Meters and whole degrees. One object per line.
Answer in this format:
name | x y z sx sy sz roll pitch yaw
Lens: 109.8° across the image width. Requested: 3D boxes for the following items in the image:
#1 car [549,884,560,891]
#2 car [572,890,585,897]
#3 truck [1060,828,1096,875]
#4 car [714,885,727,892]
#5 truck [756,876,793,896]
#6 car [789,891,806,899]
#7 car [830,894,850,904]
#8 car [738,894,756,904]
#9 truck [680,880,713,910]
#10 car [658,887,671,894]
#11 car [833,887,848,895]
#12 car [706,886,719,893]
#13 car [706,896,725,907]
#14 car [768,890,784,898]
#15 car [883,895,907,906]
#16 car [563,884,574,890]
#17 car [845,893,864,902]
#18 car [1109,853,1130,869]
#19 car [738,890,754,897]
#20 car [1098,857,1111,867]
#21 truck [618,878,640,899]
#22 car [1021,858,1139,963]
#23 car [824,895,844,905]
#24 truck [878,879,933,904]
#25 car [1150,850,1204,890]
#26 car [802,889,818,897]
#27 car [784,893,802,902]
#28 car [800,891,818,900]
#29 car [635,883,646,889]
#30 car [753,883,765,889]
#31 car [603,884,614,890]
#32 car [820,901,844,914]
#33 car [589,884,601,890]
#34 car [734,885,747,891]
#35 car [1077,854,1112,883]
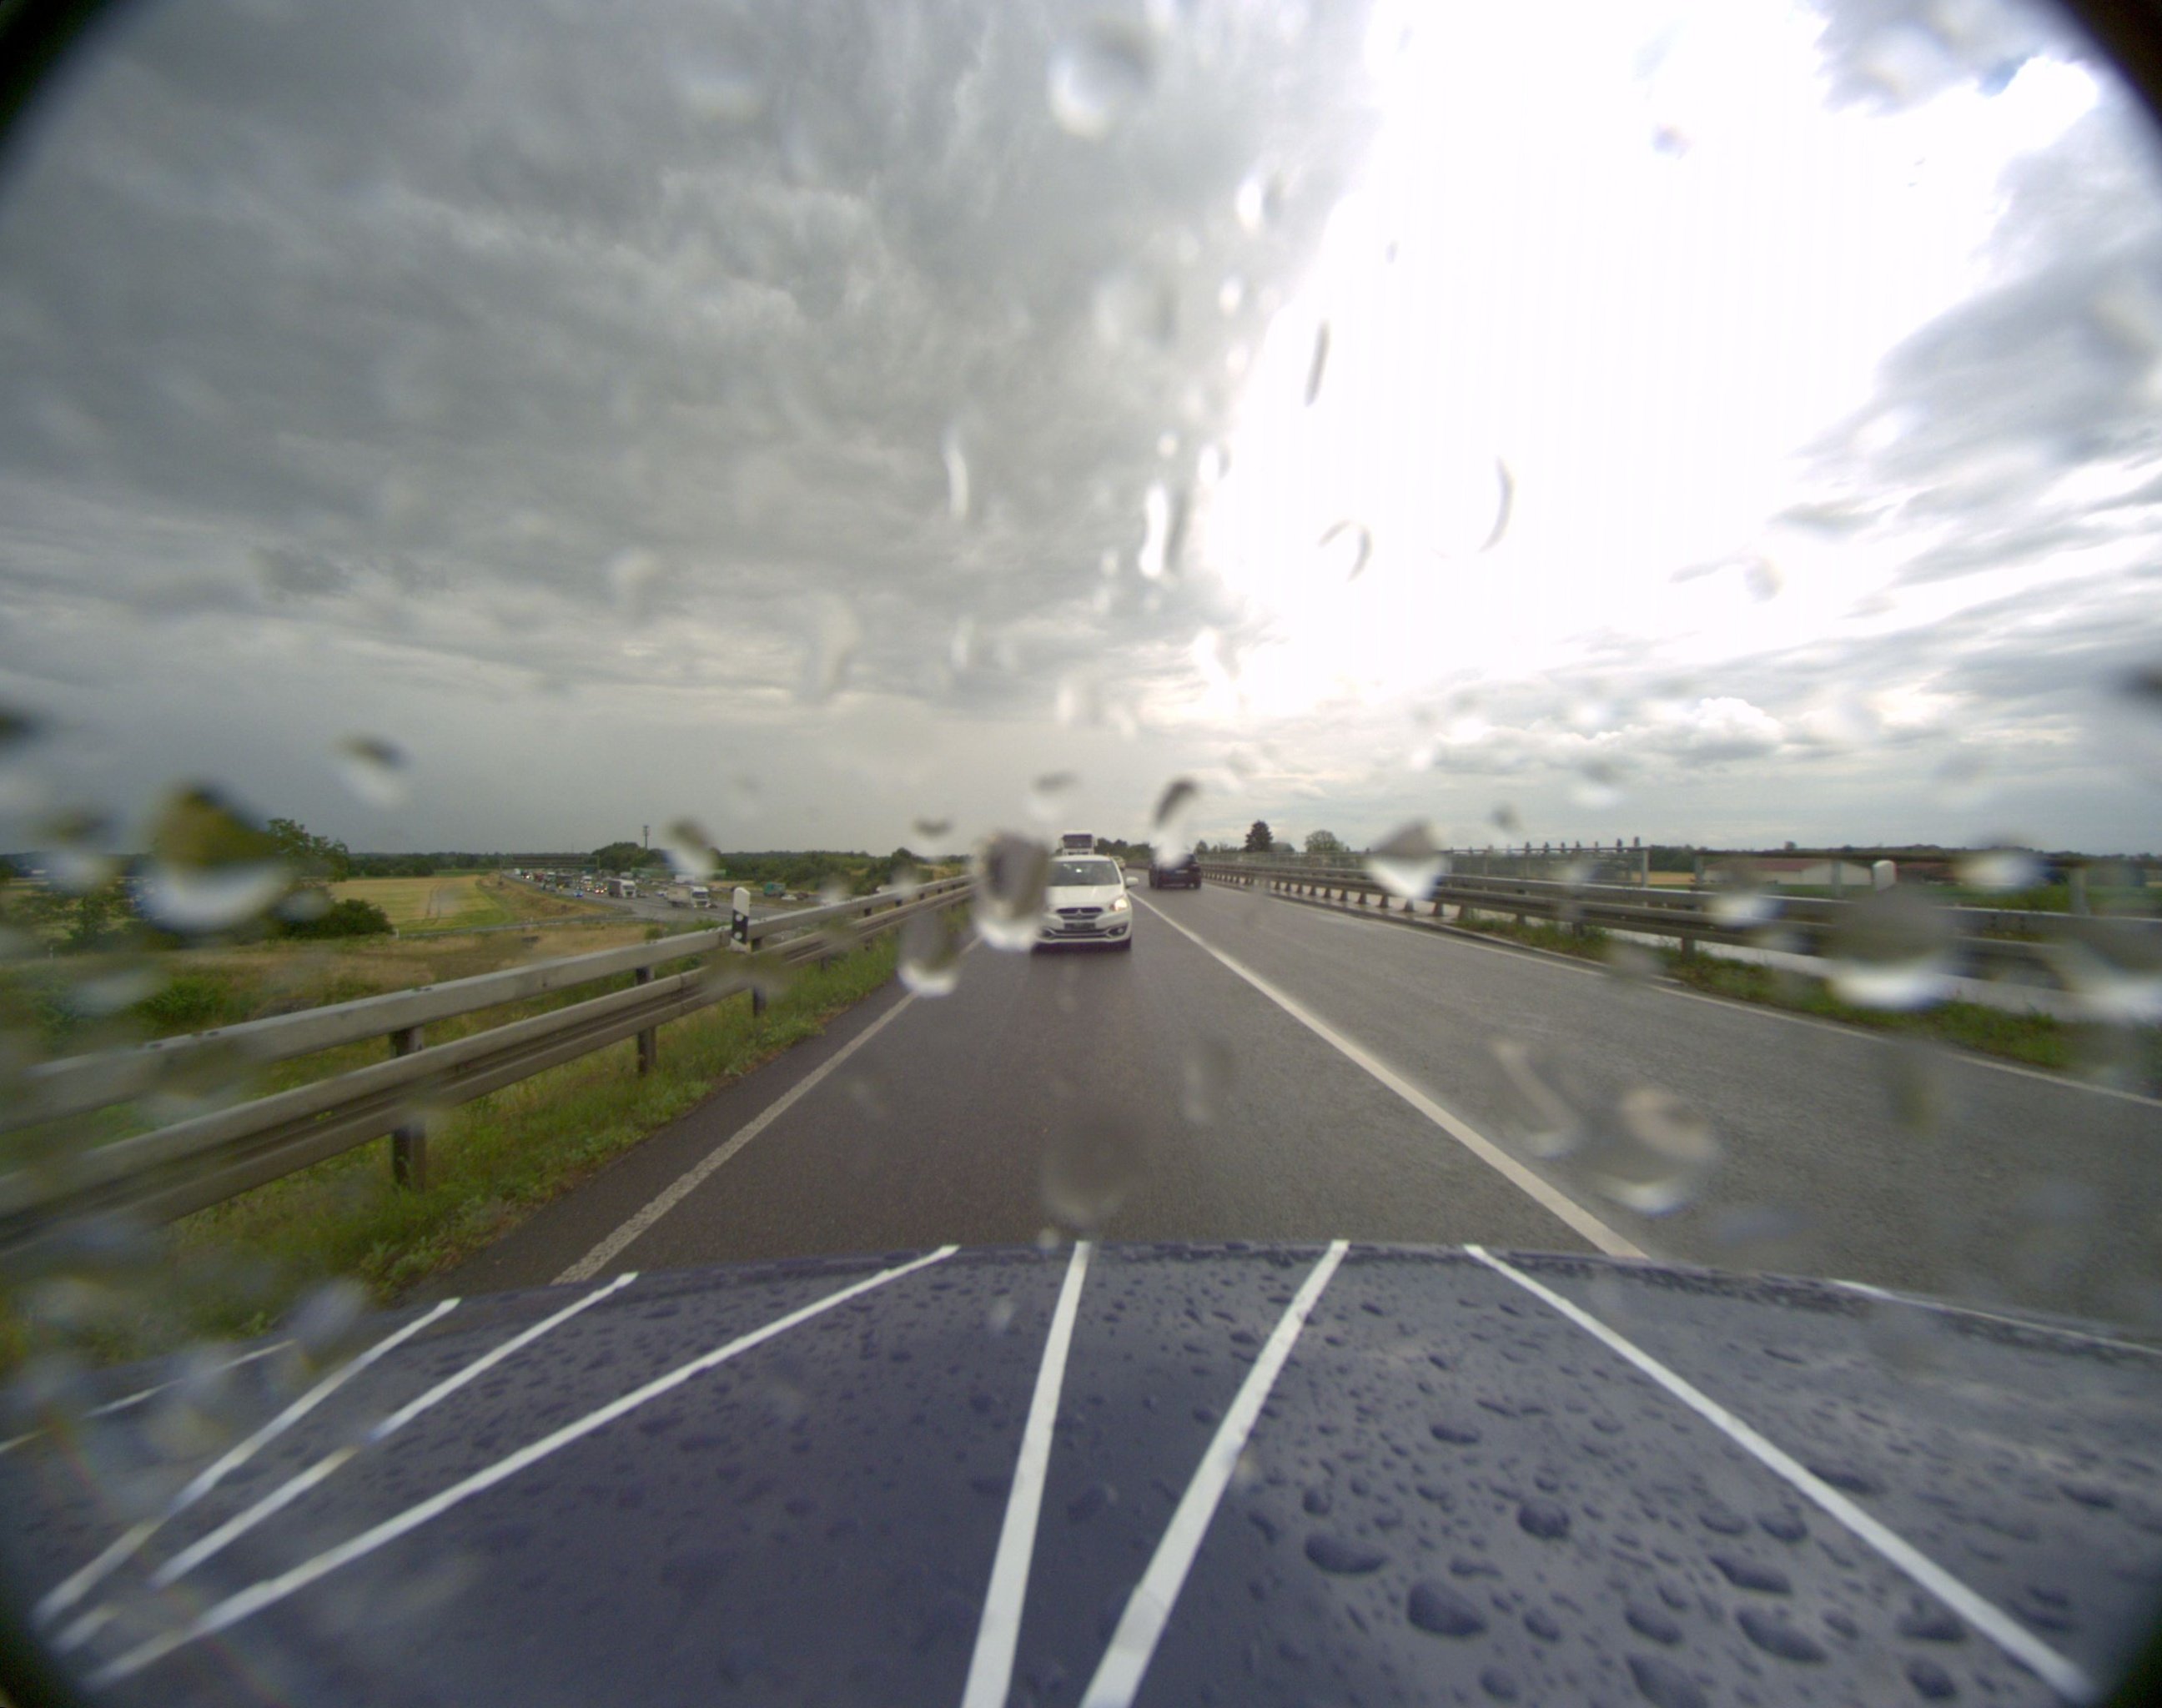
car | -142.597 9.140 205.745 1.860 1.659 4.711 -2 0 -41
car | -117.063 9.194 177.096 1.818 1.427 4.711 -2 0 -43
truck | -0.334 -0.327 62.618 2.631 3.537 8.474 -2 2 -2
car | -98.452 9.489 207.572 1.860 1.659 4.711 -2 0 -41
truck | -76.149 7.879 188.465 3.611 4.511 15.588 -2 0 -41
car | -62.603 9.037 167.575 1.860 1.659 4.711 -2 0 -43
car | -48.418 9.033 152.728 1.860 1.659 4.711 -2 0 -43
car | -65.482 8.782 149.134 1.860 1.659 4.711 -2 0 -41
truck | -68.921 7.200 136.029 2.799 4.871 12.723 -2 0 -38
car | -106.107 9.272 193.753 1.860 1.659 4.711 -2 0 -41
car | -61.635 9.464 194.682 1.860 1.659 4.711 -2 0 -41
car | -96.556 9.381 199.059 1.860 1.659 4.711 -2 0 -41
car | -67.786 8.780 140.982 1.860 1.659 4.711 -2 0 -41
car | -70.347 9.324 175.144 1.860 1.659 4.711 -2 0 -43
car | -31.215 7.740 127.281 1.860 1.659 4.711 -2 0 -43
car | -139.354 8.976 206.465 1.860 1.659 4.711 -1 0 -41
car | -46.373 8.970 155.398 1.860 1.659 4.711 -2 0 -43
car | 3.749 0.662 74.977 1.815 1.501 4.611 -2 0 0
car | -78.705 9.258 178.655 1.860 1.659 4.711 -2 0 -43
car | 3.532 1.133 115.325 1.701 1.424 4.323 -2 0 -1
truck | -104.412 7.883 175.337 2.799 4.590 12.723 -2 0 -38
car | -0.037 0.840 13.228 1.675 1.476 4.129 -2 0 -1
car | -46.868 8.736 144.204 1.860 1.659 4.711 -2 0 -43
truck | -34.465 7.285 148.675 3.611 4.511 14.065 -2 0 -44
car | 4.019 0.649 32.442 1.784 1.552 4.302 -2 0 1
car | -65.468 9.480 183.772 1.860 1.659 4.711 -2 0 -43
car | -59.931 9.004 158.174 1.860 1.659 4.711 -2 0 -43
car | -60.536 9.233 169.058 1.860 1.659 4.711 -2 0 -43
car | -126.315 9.165 218.025 1.860 1.659 4.711 -2 0 -41
car | -99.625 9.994 235.082 1.860 1.659 4.711 -2 0 -41
car | -134.022 9.405 215.582 1.860 1.659 4.711 -2 0 -41
car | -39.212 8.419 119.400 2.003 1.614 3.990 -8 4 -41
car | -133.886 9.095 209.285 1.860 1.659 4.711 -1 1 -41
car | -97.288 9.741 217.025 1.860 1.659 4.711 -2 0 -41
car | 0.665 0.723 39.552 1.675 1.366 4.129 -2 0 -1
